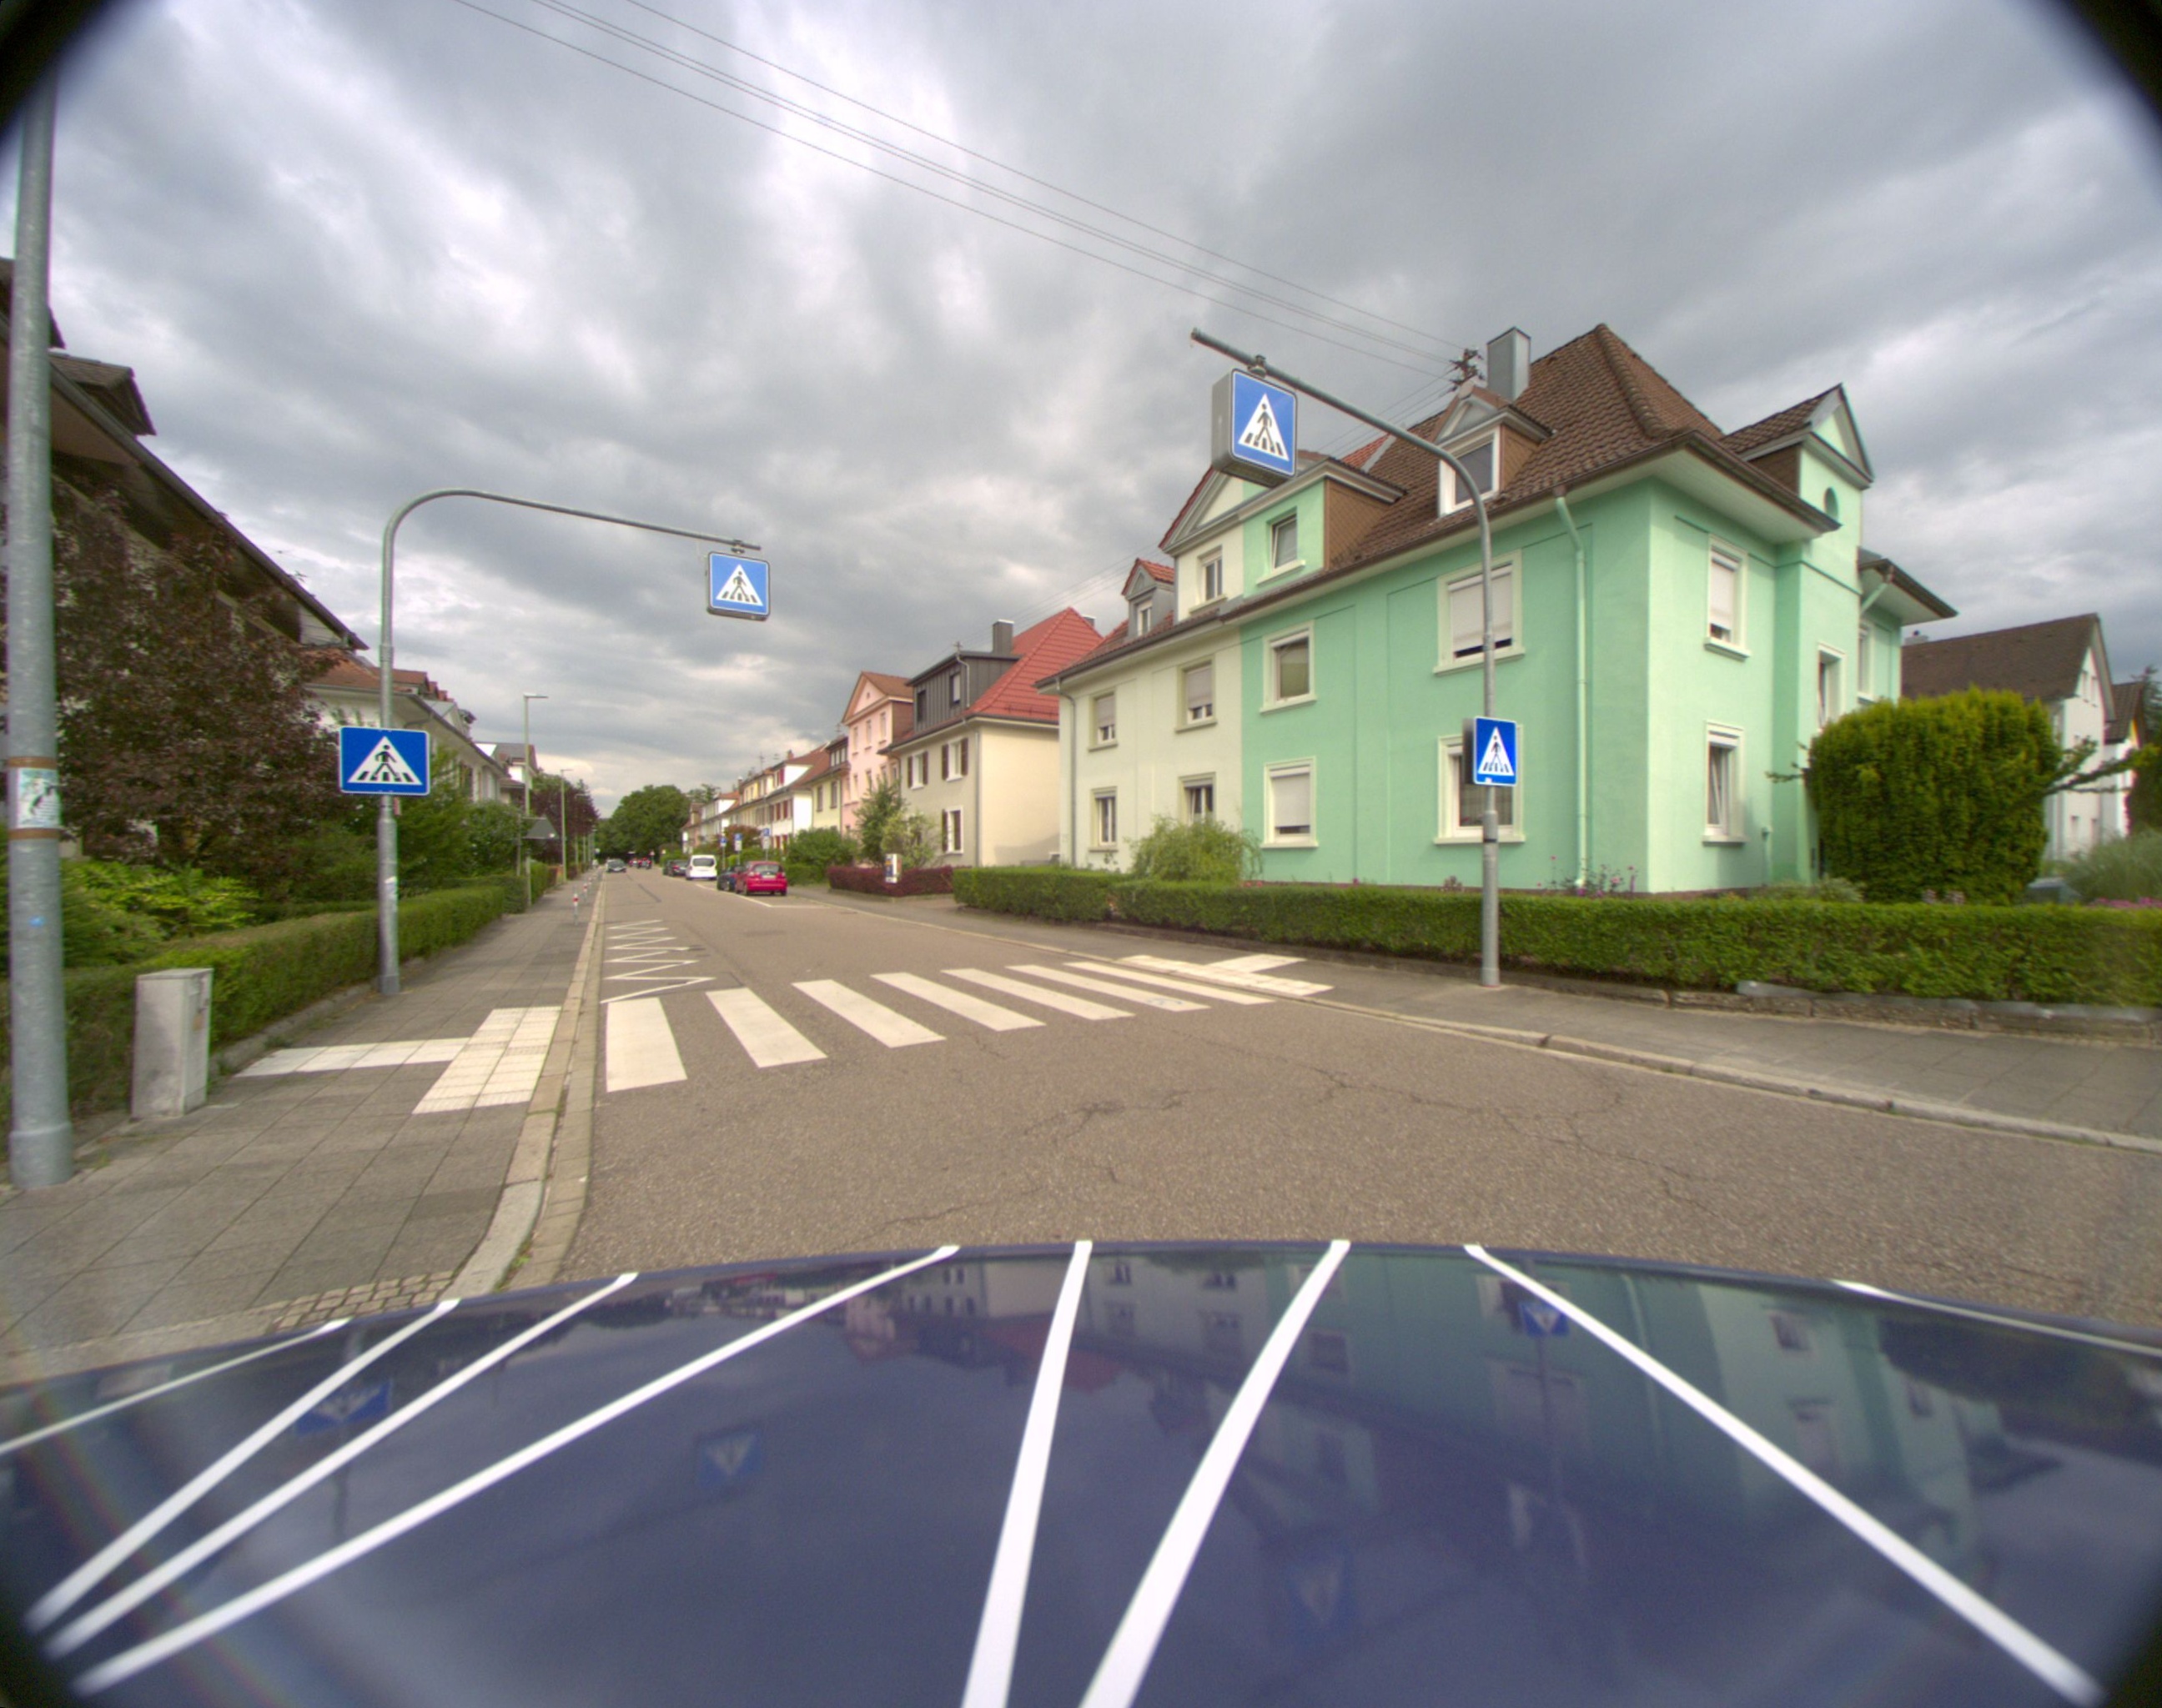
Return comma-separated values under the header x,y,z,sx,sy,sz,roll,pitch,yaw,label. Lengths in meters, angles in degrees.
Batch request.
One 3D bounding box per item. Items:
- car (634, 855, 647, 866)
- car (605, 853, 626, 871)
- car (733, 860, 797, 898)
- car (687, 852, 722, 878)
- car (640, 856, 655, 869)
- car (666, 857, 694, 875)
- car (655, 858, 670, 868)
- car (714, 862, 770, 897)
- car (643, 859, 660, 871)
x,y,z,sx,sy,sz,roll,pitch,yaw,label
-81.746,1.254,141.002,2.003,2.002,3.990,-1,0,-33,car
-54.429,0.933,88.805,2.003,2.002,3.990,-1,0,-32,car
-14.080,1.057,33.722,2.003,1.565,3.990,-1,0,-32,car
-28.660,0.809,57.763,2.003,1.892,3.990,-1,0,-32,car
-72.364,1.417,126.687,2.004,2.001,3.990,1,-1,-32,car
-37.440,1.110,70.946,2.003,1.565,3.990,-1,0,-32,car
-62.316,1.301,113.197,1.504,1.456,3.084,1,-1,-37,car
-17.024,1.234,38.032,2.003,1.565,3.990,-1,0,-32,car
-66.050,1.692,116.912,1.738,1.695,3.989,1,-1,-37,car
